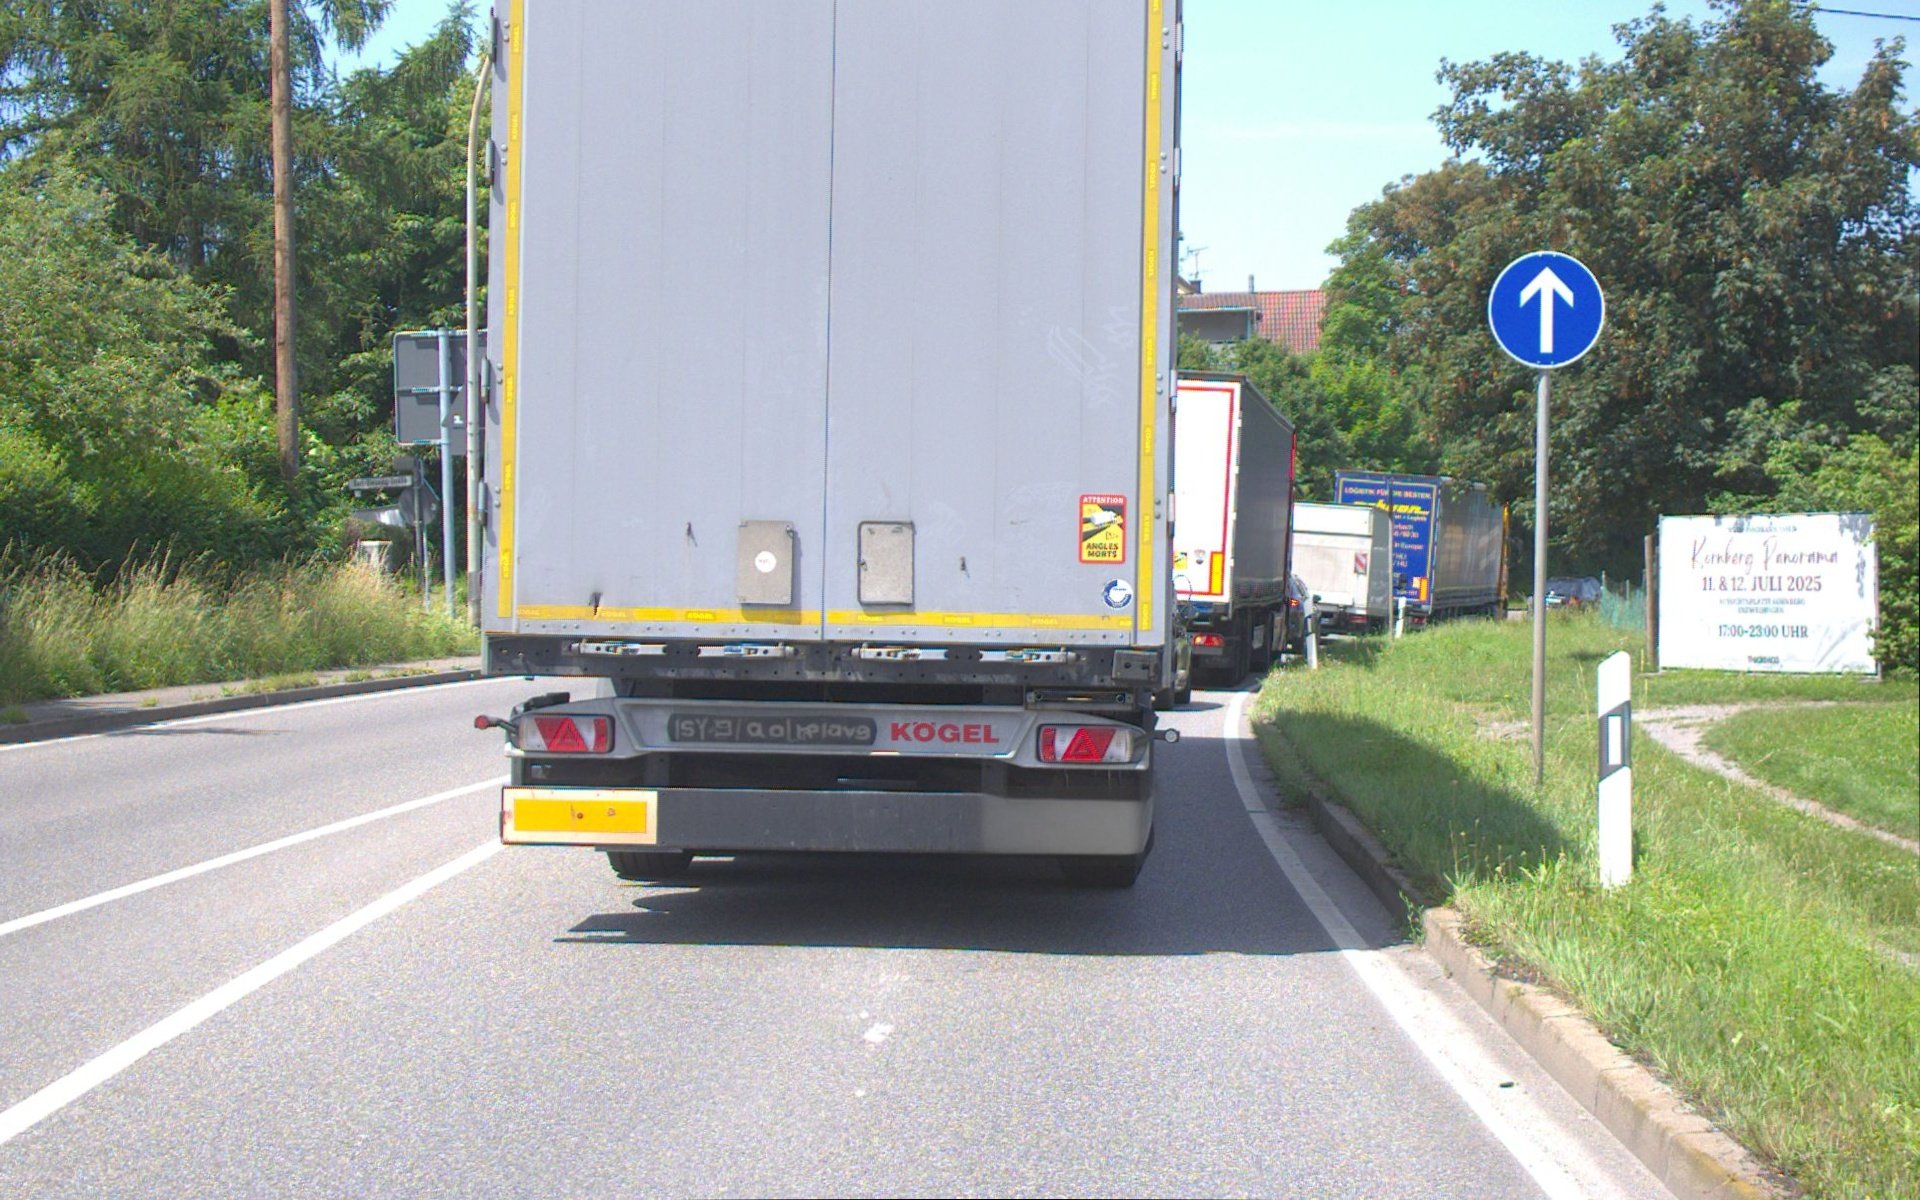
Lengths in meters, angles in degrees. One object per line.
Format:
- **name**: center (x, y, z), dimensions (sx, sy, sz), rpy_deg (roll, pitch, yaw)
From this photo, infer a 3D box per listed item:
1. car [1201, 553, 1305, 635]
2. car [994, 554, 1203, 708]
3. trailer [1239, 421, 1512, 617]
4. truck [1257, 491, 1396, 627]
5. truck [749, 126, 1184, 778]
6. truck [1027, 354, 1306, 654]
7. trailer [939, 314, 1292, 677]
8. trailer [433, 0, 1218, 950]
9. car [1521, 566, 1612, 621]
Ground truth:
- **car**: center (5.741, -0.139, 67.012), dimensions (1.842, 1.481, 3.999), rpy_deg (1, 1, 7)
- **car**: center (1.574, 0.293, 37.568), dimensions (1.994, 1.525, 3.999), rpy_deg (1, 1, 6)
- **trailer**: center (11.192, -2.120, 90.244), dimensions (5.183, 4.612, 15.886), rpy_deg (1, 1, 14)
- **truck**: center (8.042, -0.922, 75.009), dimensions (2.422, 2.828, 5.409), rpy_deg (1, 1, 12)
- **truck**: center (0.231, -1.027, 25.191), dimensions (2.746, 4.151, 6.142), rpy_deg (1, 1, 4)
- **truck**: center (3.514, -1.529, 56.287), dimensions (3.938, 4.559, 7.150), rpy_deg (1, 1, 8)
- **trailer**: center (2.537, -1.394, 49.200), dimensions (3.892, 4.505, 12.709), rpy_deg (1, 1, 8)
- **trailer**: center (-0.172, -1.000, 18.408), dimensions (2.787, 4.191, 12.110), rpy_deg (1, 1, 3)
- **car**: center (19.603, -0.225, 111.014), dimensions (1.996, 1.678, 3.995), rpy_deg (1, 1, 24)
